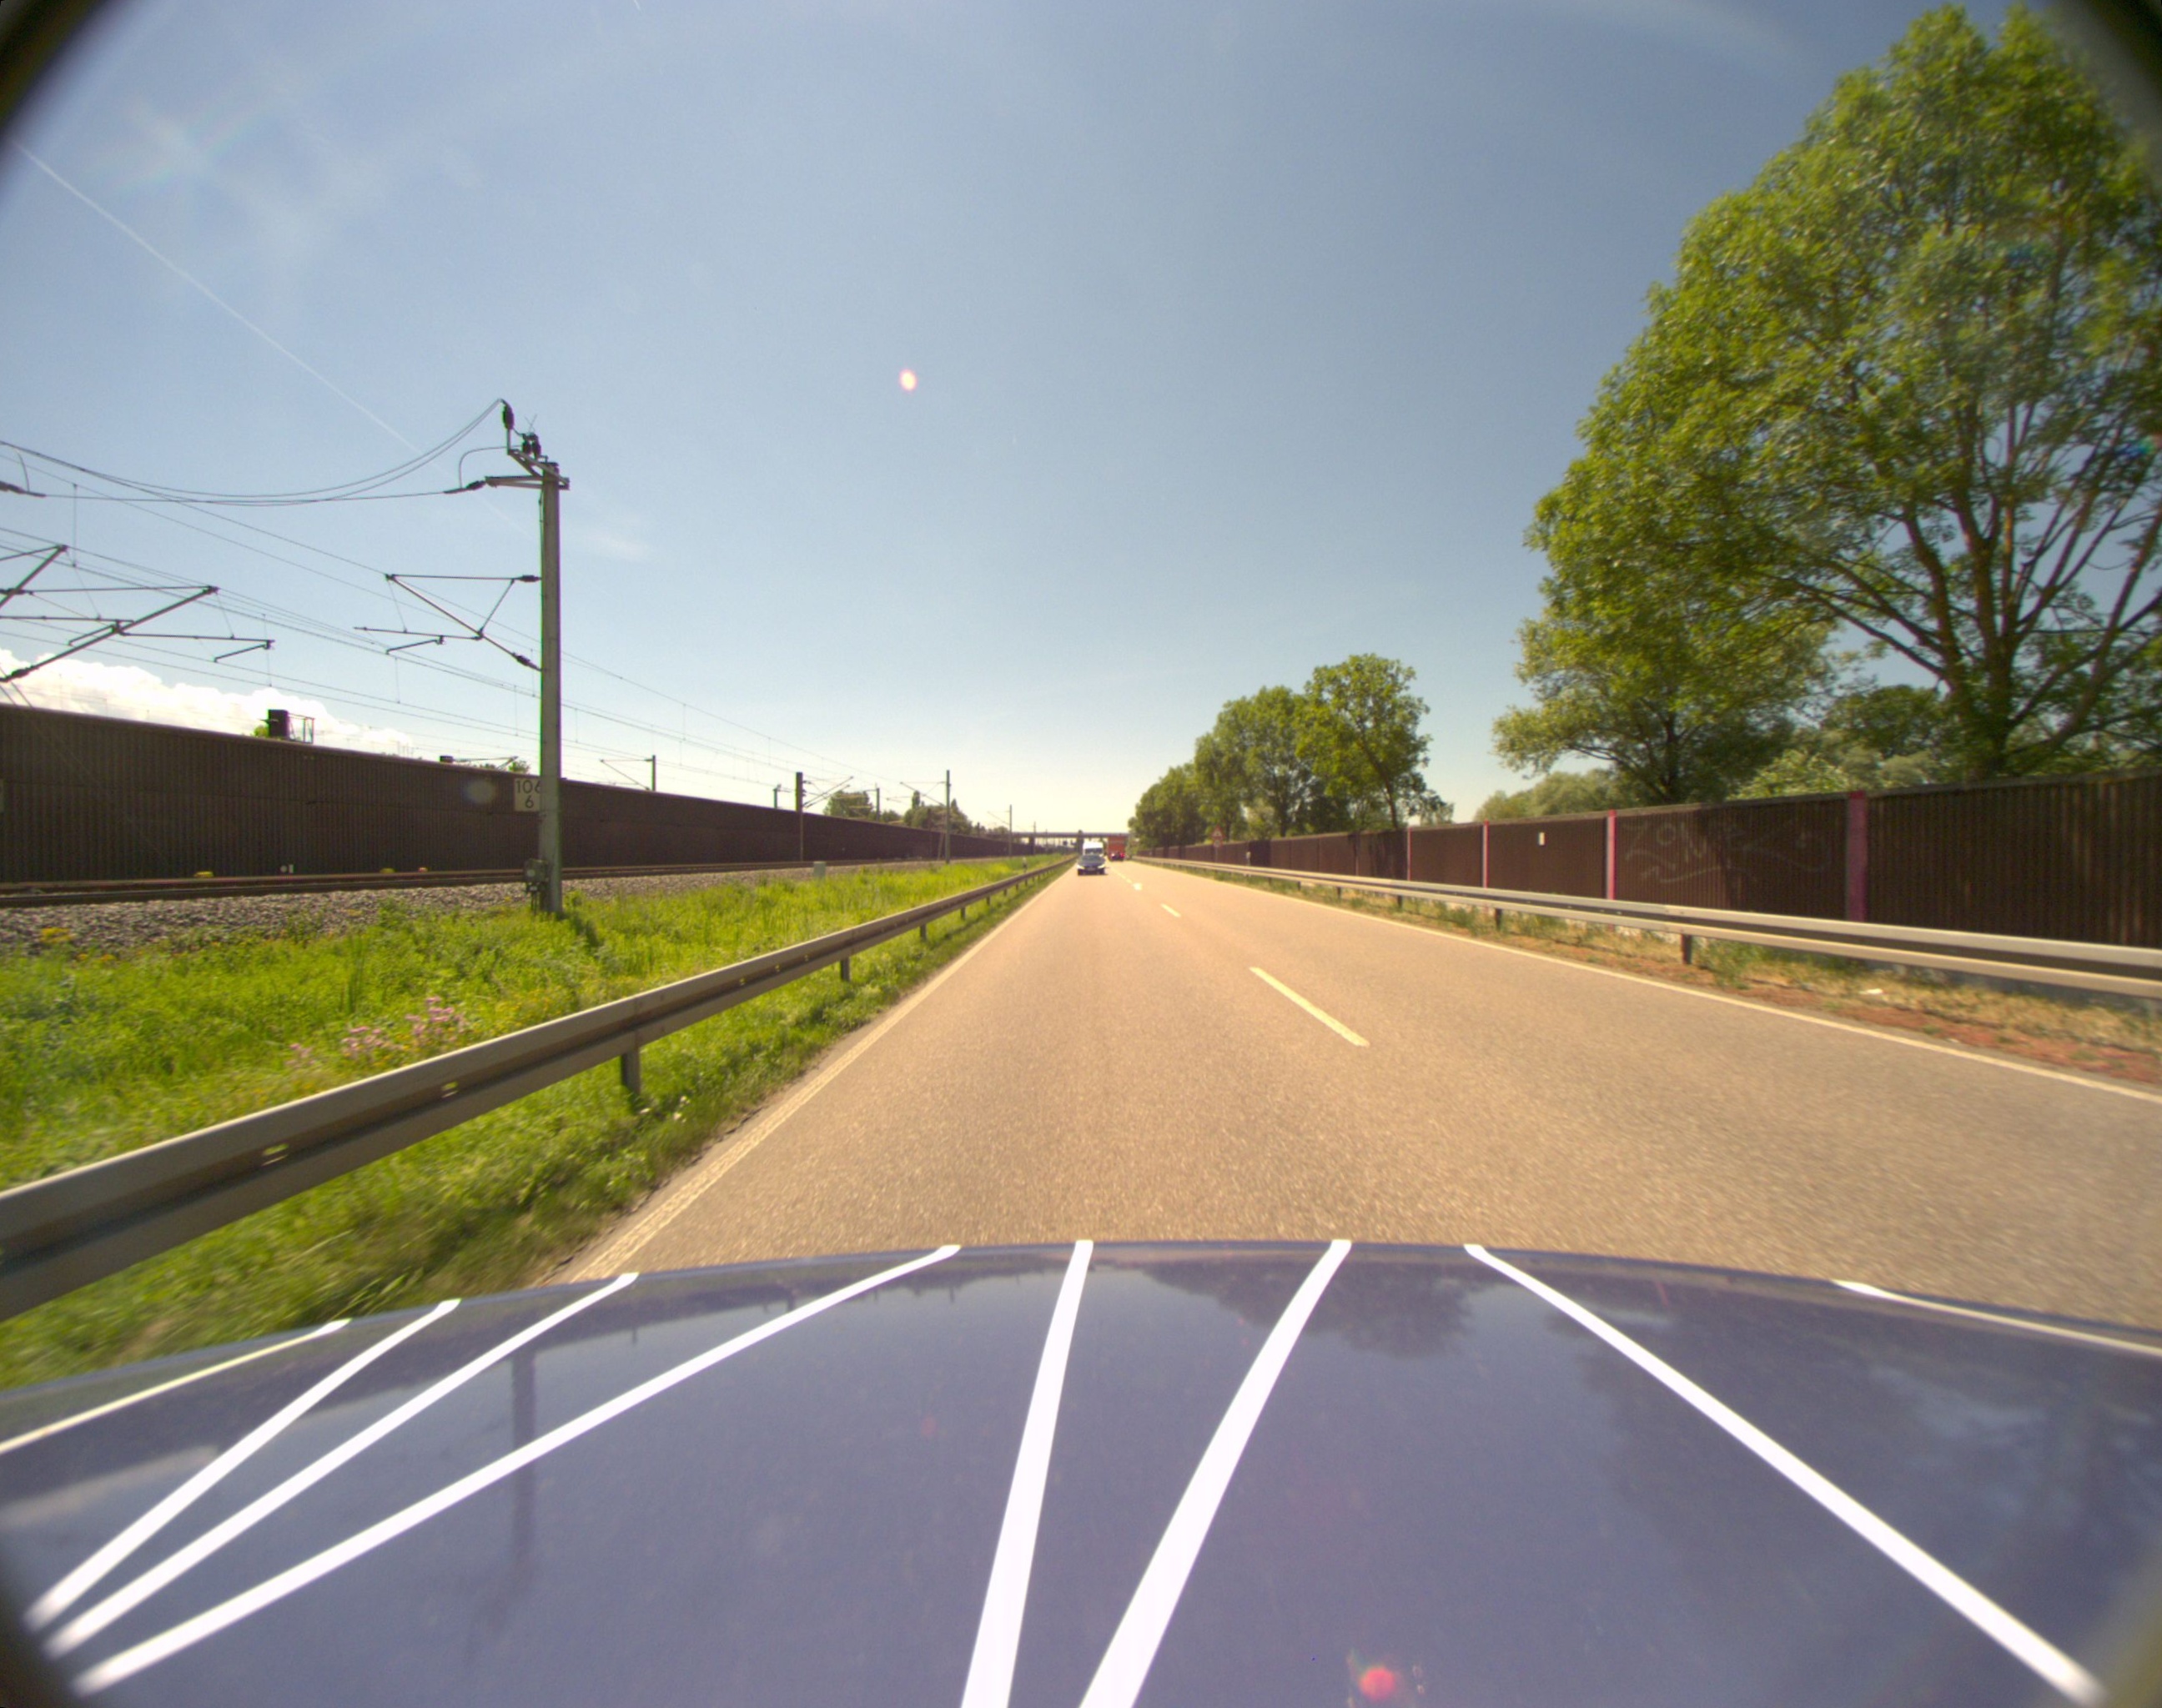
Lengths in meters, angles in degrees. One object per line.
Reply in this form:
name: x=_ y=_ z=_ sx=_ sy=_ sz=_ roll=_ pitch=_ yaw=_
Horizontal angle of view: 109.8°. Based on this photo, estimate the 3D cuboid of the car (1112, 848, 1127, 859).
car: x=5.664 y=-0.063 z=111.310 sx=1.994 sy=1.486 sz=4.492 roll=-2 pitch=0 yaw=1

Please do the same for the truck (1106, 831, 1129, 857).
truck: x=5.890 y=-1.578 z=123.926 sx=3.132 sy=3.942 sz=9.718 roll=-2 pitch=1 yaw=1

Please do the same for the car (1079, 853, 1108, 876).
car: x=0.807 y=0.650 z=49.053 sx=1.758 sy=1.313 sz=4.000 roll=-2 pitch=0 yaw=1

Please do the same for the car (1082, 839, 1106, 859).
car: x=1.223 y=-0.492 z=72.622 sx=2.161 sy=1.702 sz=4.492 roll=-2 pitch=0 yaw=1
